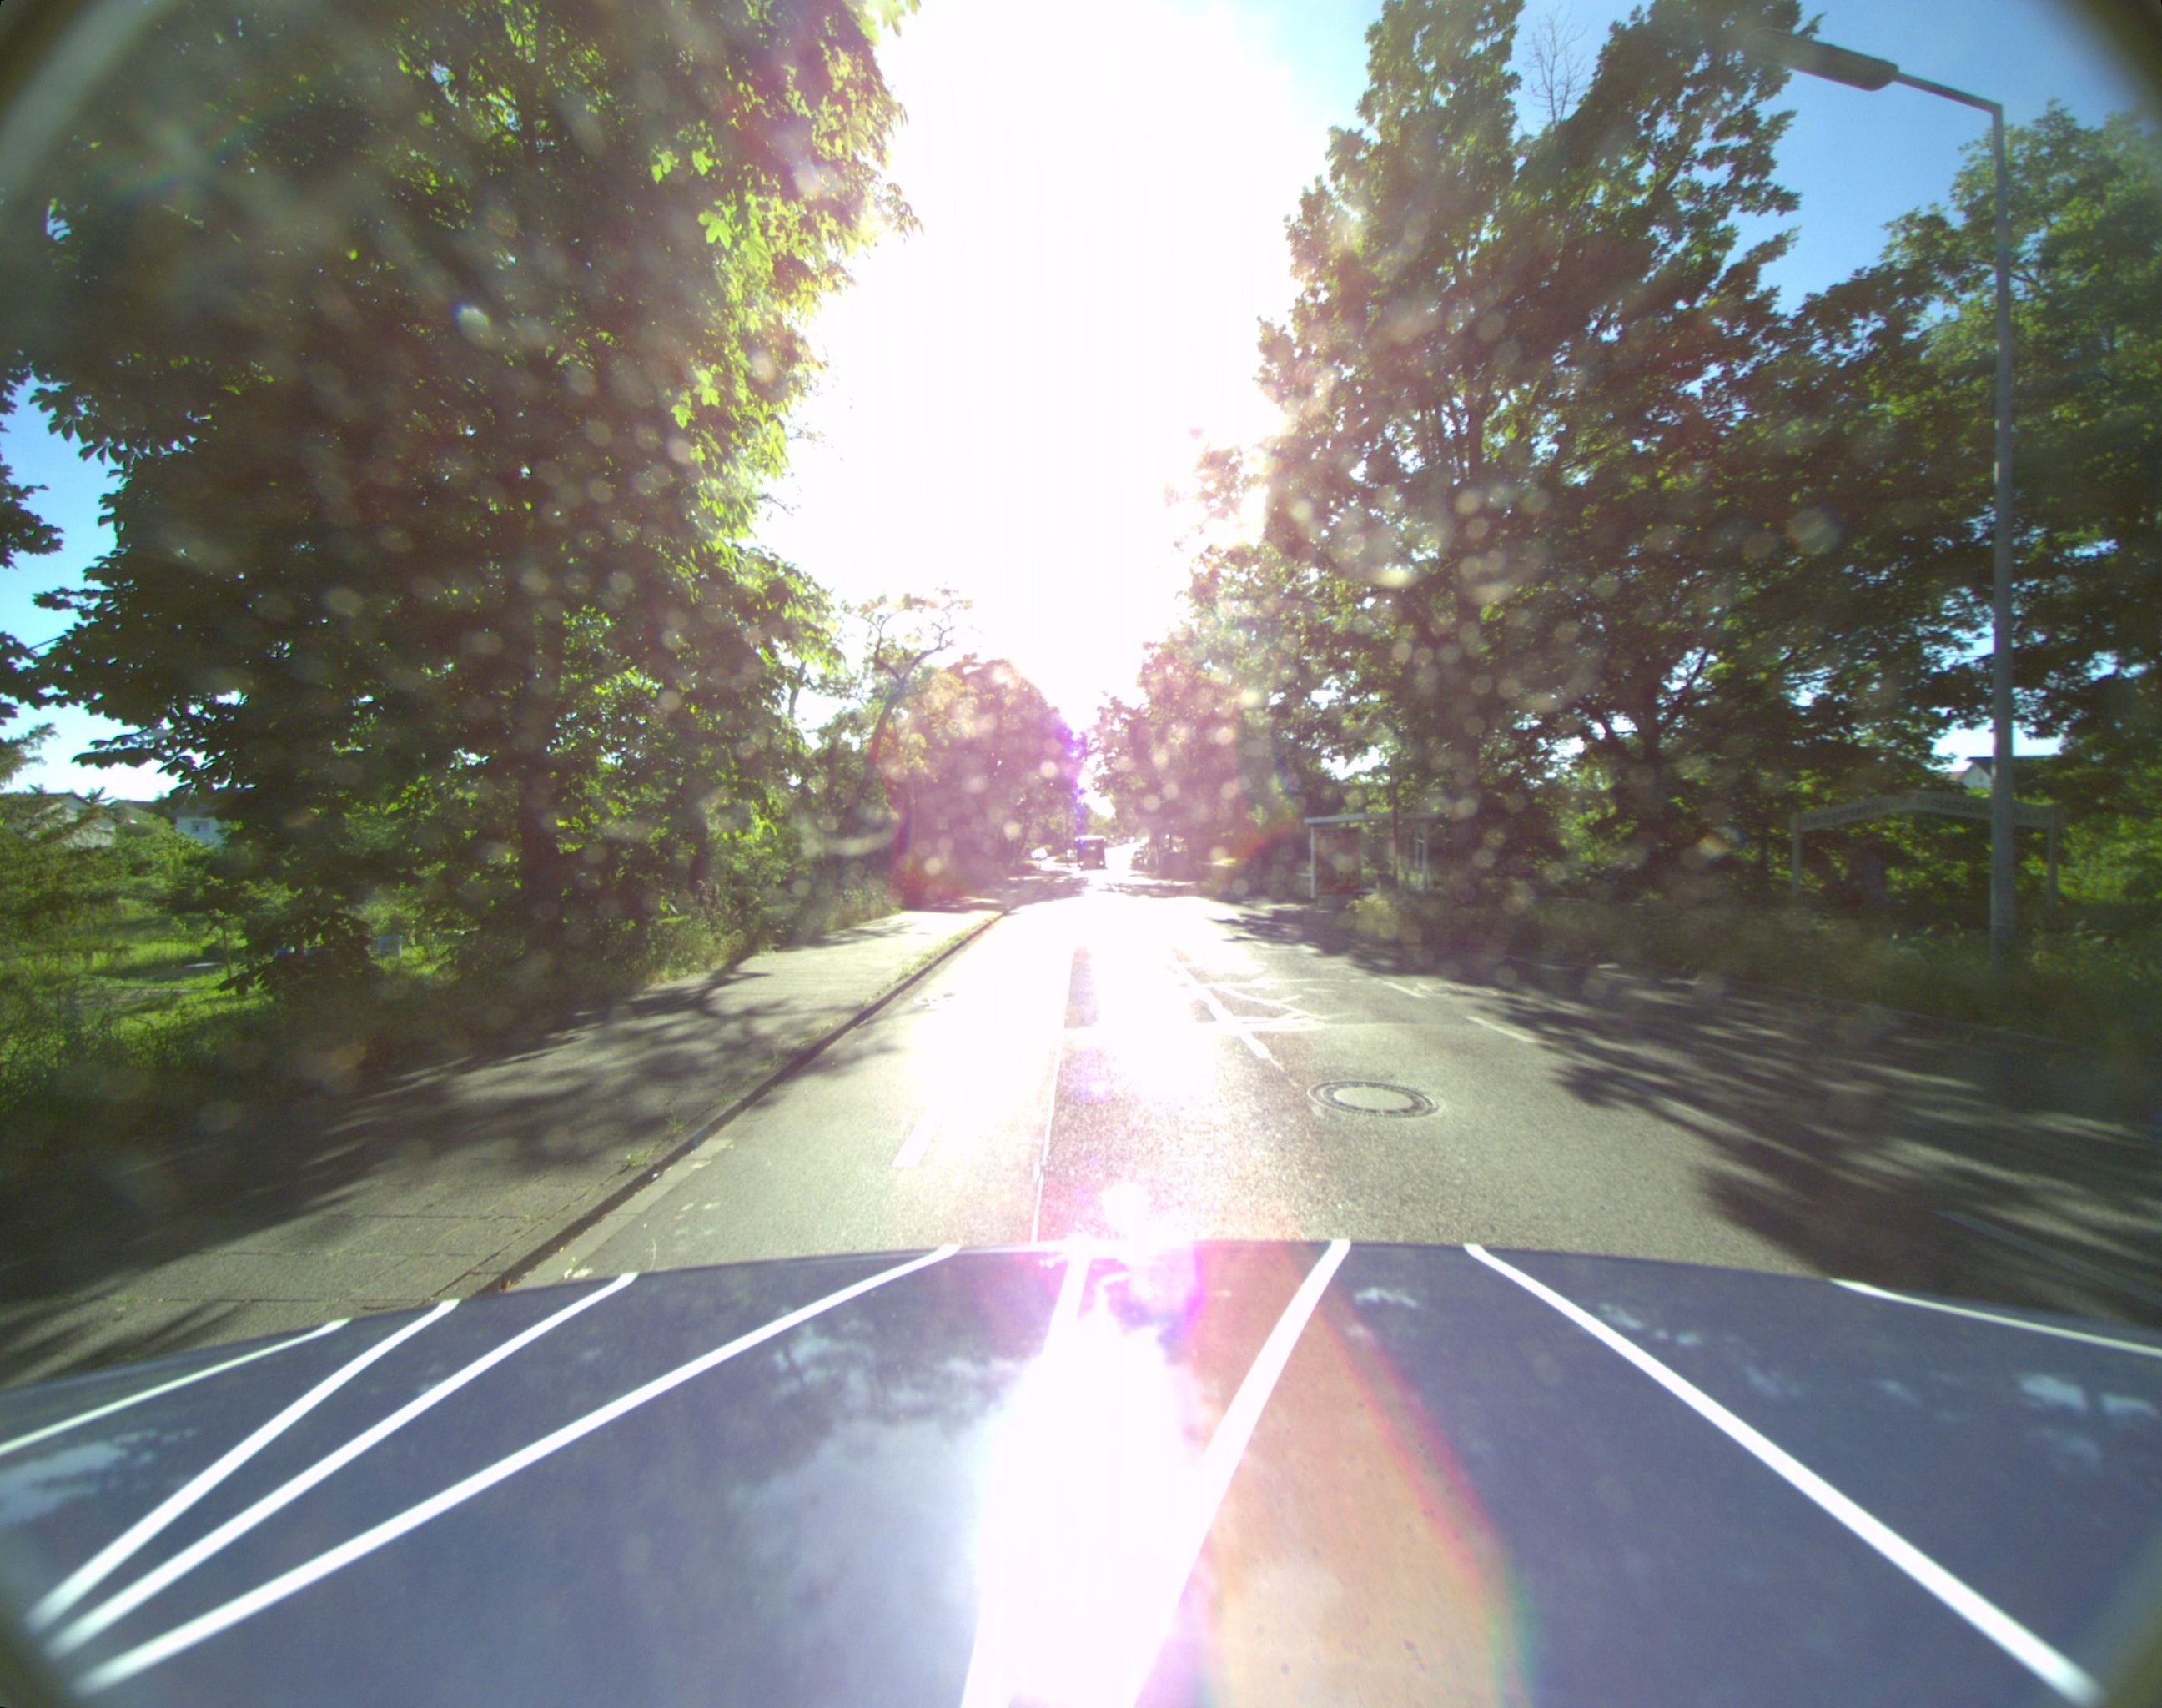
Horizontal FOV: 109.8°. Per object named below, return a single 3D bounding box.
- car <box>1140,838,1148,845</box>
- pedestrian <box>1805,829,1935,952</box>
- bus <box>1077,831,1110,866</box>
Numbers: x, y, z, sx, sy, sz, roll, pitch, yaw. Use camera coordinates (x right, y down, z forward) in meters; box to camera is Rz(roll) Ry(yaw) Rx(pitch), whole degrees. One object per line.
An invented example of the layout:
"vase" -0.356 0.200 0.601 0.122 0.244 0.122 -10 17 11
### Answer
"car" 16.836 -3.357 202.718 1.817 1.769 3.903 -2 1 1
"pedestrian" 11.381 0.505 10.992 0.915 1.678 0.891 -2 0 2
"bus" 1.076 -0.485 74.422 2.790 2.965 12.893 -2 0 -1
